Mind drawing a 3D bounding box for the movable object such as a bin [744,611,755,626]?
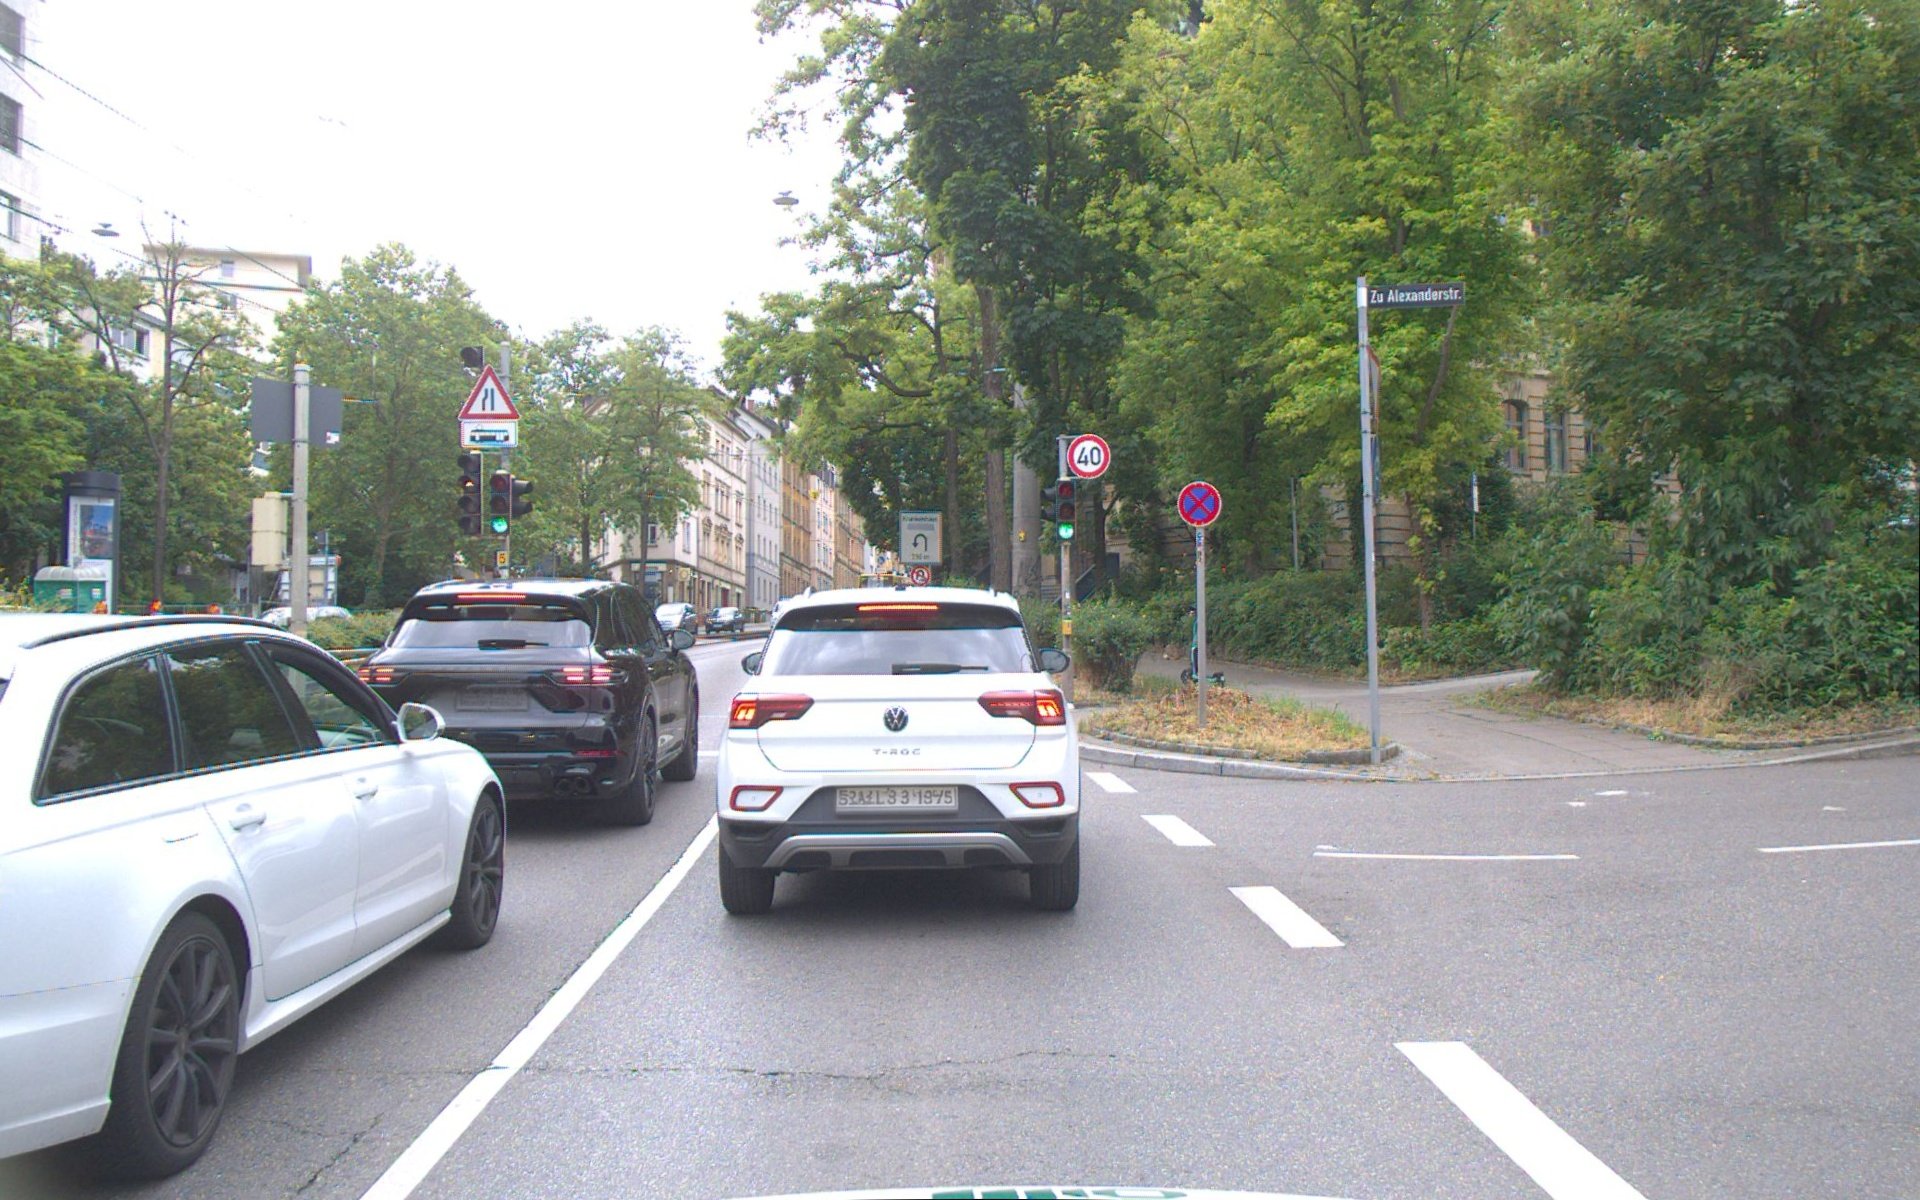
[{"bbox_3d":[-16.097,1.411,126.507,0.672,1.092,0.677,0,-1,4],"label":"movable object such as a bin"}]

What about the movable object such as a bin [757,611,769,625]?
[{"bbox_3d":[-15.717,1.441,132.006,0.808,1.092,0.698,0,-1,4],"label":"movable object such as a bin"}]

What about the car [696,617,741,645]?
[{"bbox_3d":[-13.201,1.693,90.574,1.730,1.432,4.083,-1,0,2],"label":"car"}]

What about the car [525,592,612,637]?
[{"bbox_3d":[-14.940,0.540,63.365,1.952,1.633,4.612,-1,0,4],"label":"car"}]

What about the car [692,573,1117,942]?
[{"bbox_3d":[-0.285,0.694,9.213,1.841,1.582,3.999,-1,0,-1],"label":"car"}]

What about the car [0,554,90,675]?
[{"bbox_3d":[-21.948,0.342,36.300,2.112,2.639,6.338,-1,0,2],"label":"car"}]

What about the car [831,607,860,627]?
[{"bbox_3d":[-9.396,1.400,135.655,1.952,1.579,4.001,-1,0,2],"label":"car"}]

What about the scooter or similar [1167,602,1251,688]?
[{"bbox_3d":[3.676,0.651,24.532,0.620,1.231,1.550,-1,0,-17],"label":"scooter or similar"}]

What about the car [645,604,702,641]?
[{"bbox_3d":[-13.529,1.055,78.278,1.953,1.646,4.000,-1,0,0],"label":"car"}]

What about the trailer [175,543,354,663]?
[{"bbox_3d":[-18.772,0.096,45.008,1.976,3.025,5.593,1,0,6],"label":"trailer"}]

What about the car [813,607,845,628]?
[{"bbox_3d":[-10.014,1.352,126.945,1.952,1.579,4.001,-1,0,2],"label":"car"}]

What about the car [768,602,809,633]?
[{"bbox_3d":[-11.486,1.171,110.912,1.906,1.980,5.005,0,0,4],"label":"car"}]

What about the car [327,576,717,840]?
[{"bbox_3d":[-3.016,0.674,12.391,1.997,1.599,4.354,-1,0,-4],"label":"car"}]

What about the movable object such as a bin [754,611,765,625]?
[{"bbox_3d":[-15.823,1.435,130.740,0.712,1.092,0.672,0,-1,4],"label":"movable object such as a bin"}]

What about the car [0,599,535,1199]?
[{"bbox_3d":[-2.880,0.759,5.477,1.841,1.480,4.616,-1,0,-1],"label":"car"}]
